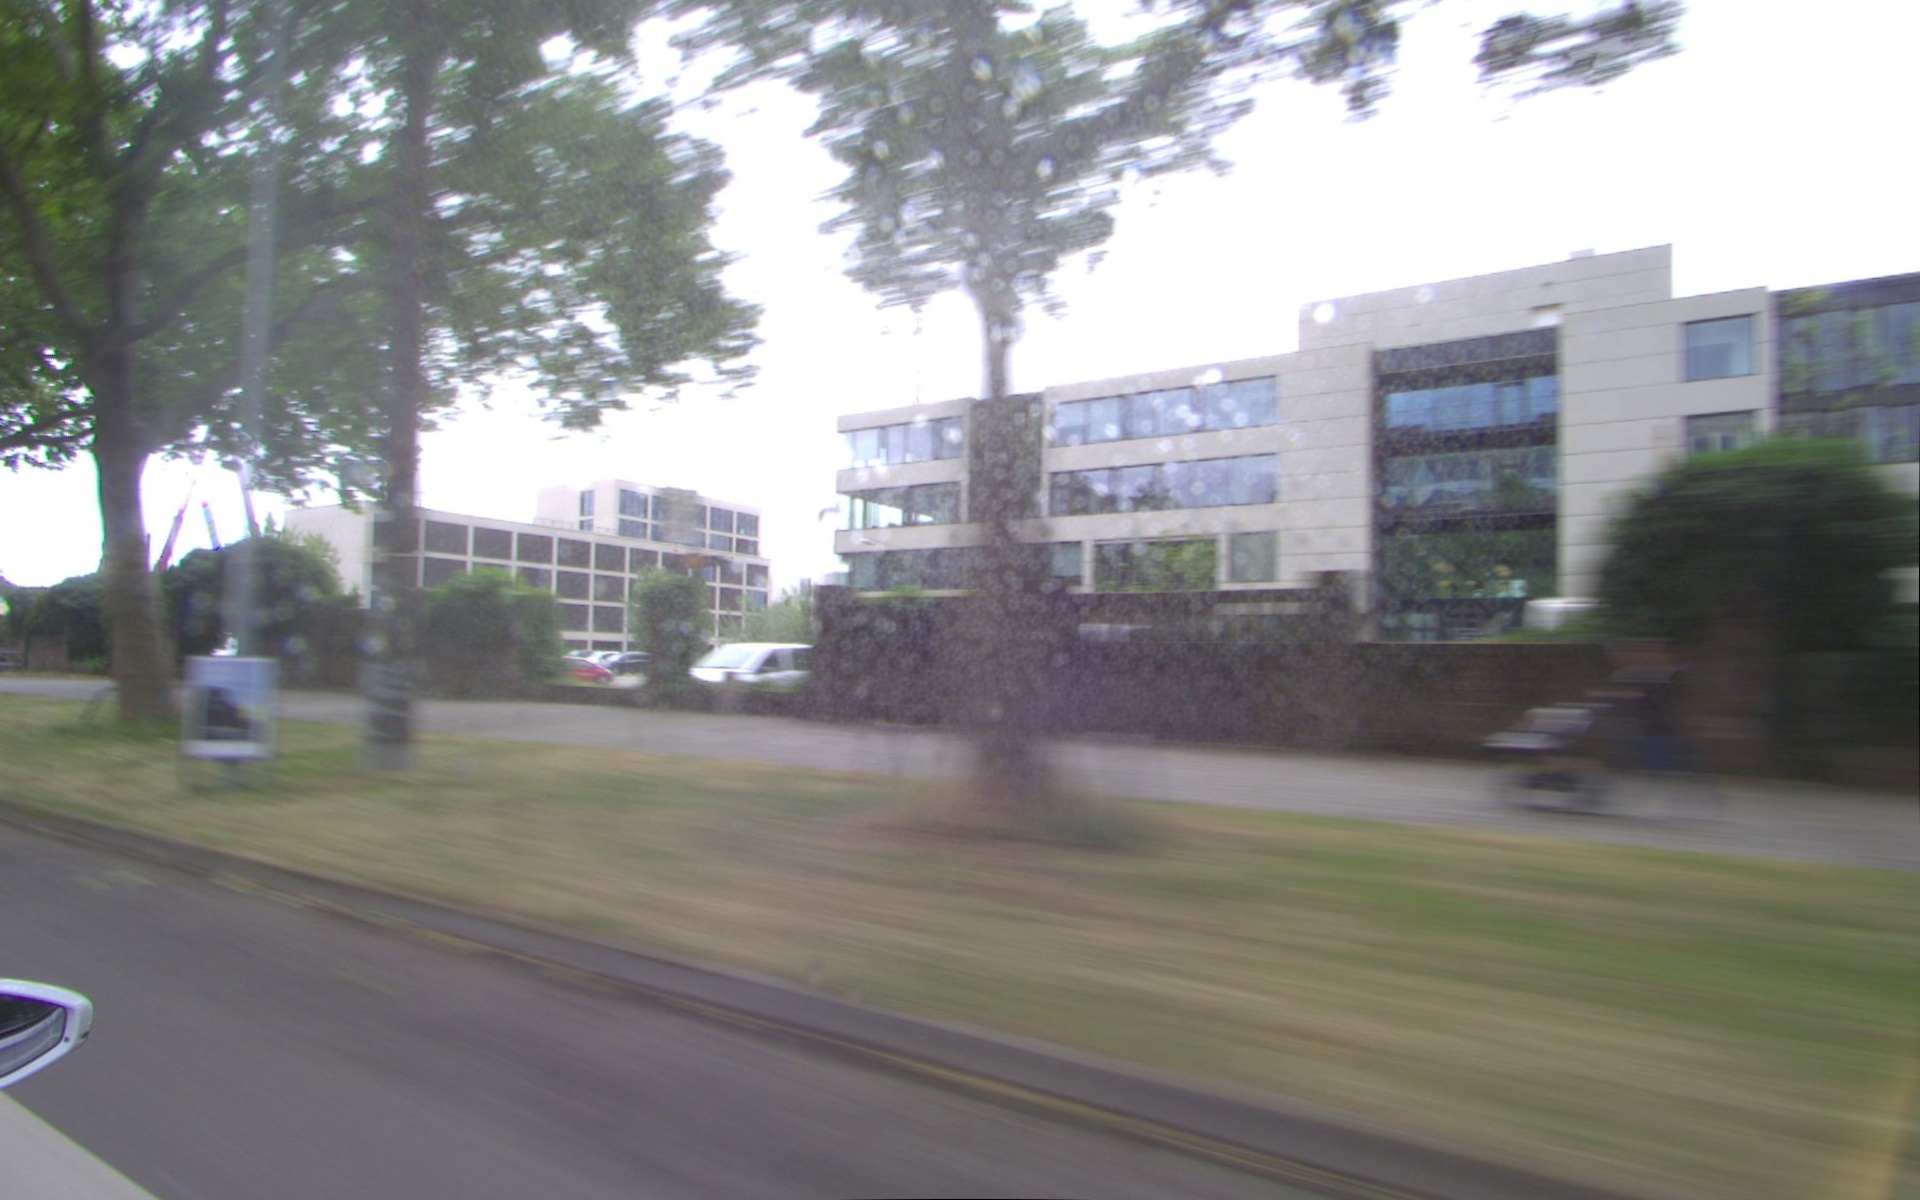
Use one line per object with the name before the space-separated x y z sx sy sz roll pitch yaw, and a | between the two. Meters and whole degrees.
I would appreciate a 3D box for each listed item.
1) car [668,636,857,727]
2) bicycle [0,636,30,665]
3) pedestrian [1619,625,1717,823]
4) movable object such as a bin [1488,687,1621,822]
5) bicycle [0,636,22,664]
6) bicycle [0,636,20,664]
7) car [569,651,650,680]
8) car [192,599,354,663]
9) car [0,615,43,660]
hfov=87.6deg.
car | -4.801 1.985 25.097 1.970 2.038 4.875 -1 -4 29
bicycle | -36.977 1.931 38.372 0.541 1.119 1.888 -1 -2 29
pedestrian | 6.245 1.061 8.834 0.661 1.652 0.556 -1 -3 37
movable object such as a bin | 5.544 1.403 9.340 1.002 1.126 0.610 0 -3 37
bicycle | -37.501 1.934 38.604 0.541 1.111 1.898 -1 -2 29
bicycle | -38.004 1.940 38.988 0.541 1.108 1.973 -1 -2 29
car | -19.973 3.733 57.028 3.951 1.615 1.987 3 -4 -35
car | -27.341 1.324 40.076 1.640 2.291 5.097 -1 -5 29
car | -57.641 2.139 58.175 2.069 2.586 6.021 -1 -4 30
